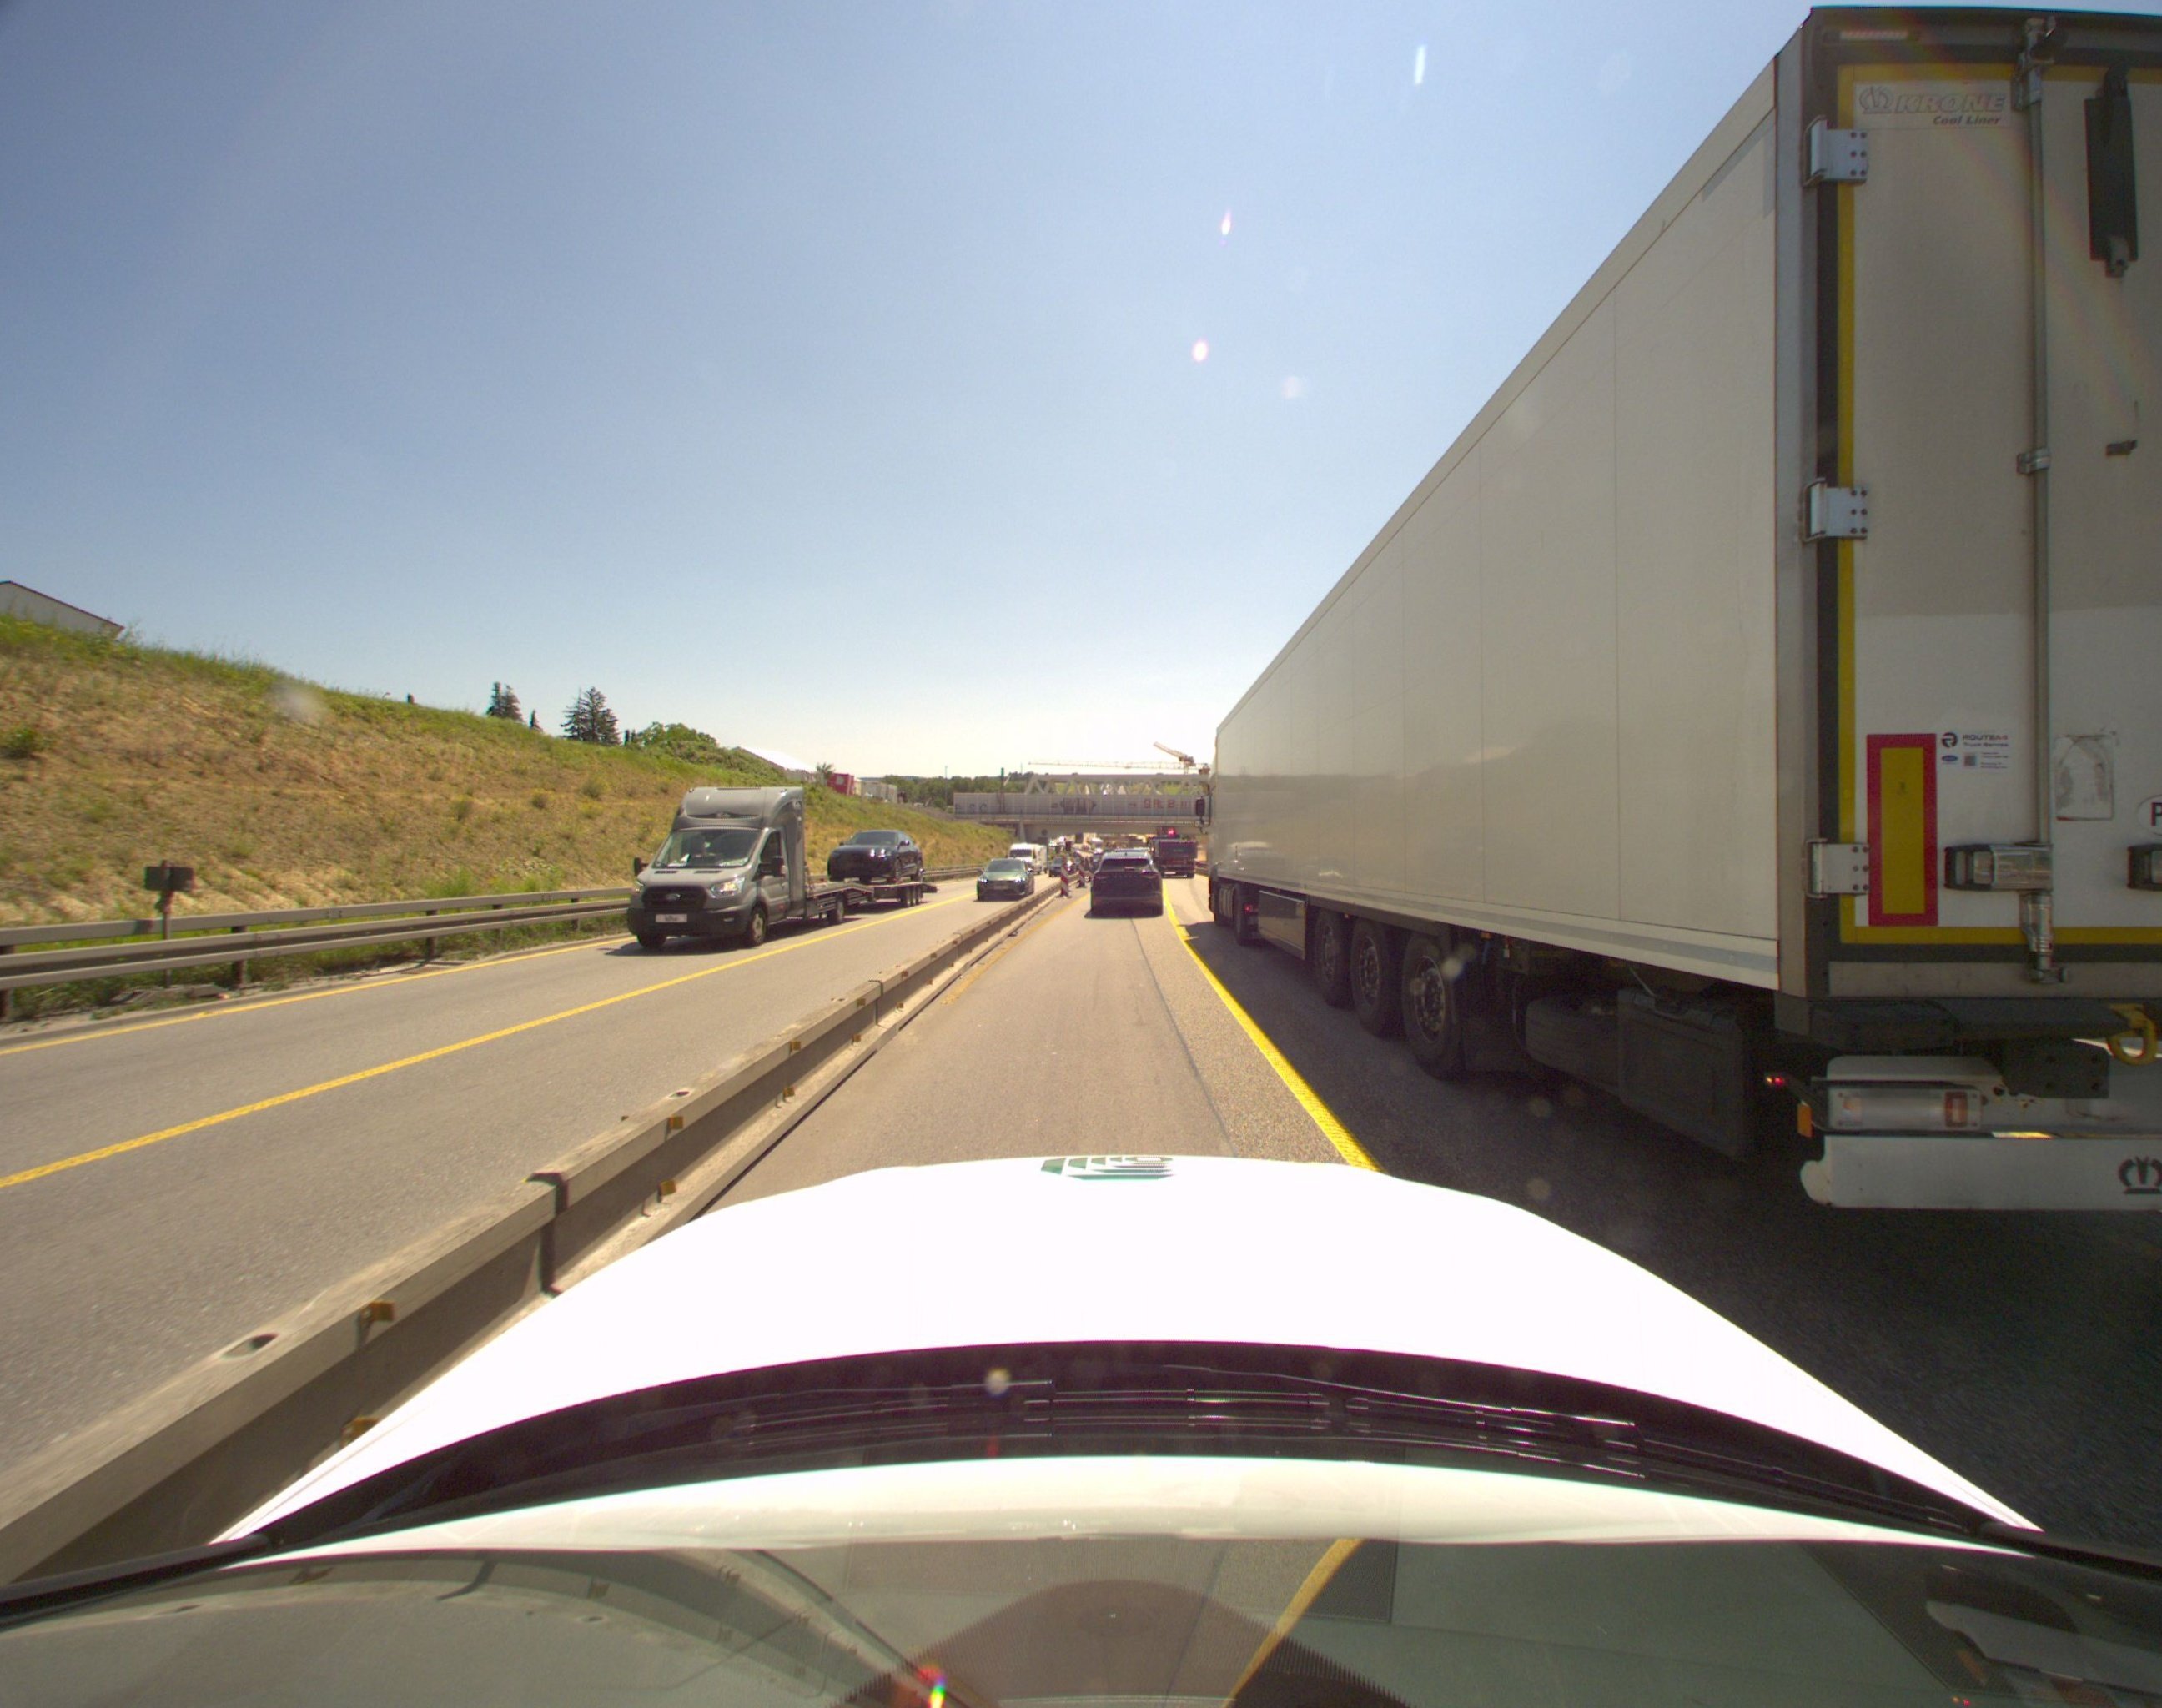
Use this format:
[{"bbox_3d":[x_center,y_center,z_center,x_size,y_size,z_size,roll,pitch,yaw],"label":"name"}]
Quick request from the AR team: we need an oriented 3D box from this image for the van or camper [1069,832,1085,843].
[{"bbox_3d":[-1.228,-5.235,264.296,3.942,3.419,8.380,0,1,-9],"label":"van or camper"}]

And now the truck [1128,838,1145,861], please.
[{"bbox_3d":[10.888,-0.875,160.149,3.163,4.318,9.262,-1,0,2],"label":"truck"}]

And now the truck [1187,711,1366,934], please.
[{"bbox_3d":[3.907,-0.580,17.423,2.766,4.058,4.907,-1,0,2],"label":"truck"}]

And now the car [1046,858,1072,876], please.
[{"bbox_3d":[-1.561,0.928,58.506,1.603,1.276,3.169,0,0,3],"label":"car"}]

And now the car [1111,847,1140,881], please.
[{"bbox_3d":[2.472,0.520,44.974,1.468,1.795,3.301,1,0,4],"label":"car"}]

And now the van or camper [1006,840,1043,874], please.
[{"bbox_3d":[-4.228,0.237,61.936,2.206,2.481,4.754,0,0,3],"label":"van or camper"}]

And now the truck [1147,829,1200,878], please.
[{"bbox_3d":[6.522,-0.061,59.389,2.803,3.135,12.843,-1,0,2],"label":"truck"}]

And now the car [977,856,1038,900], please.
[{"bbox_3d":[-2.590,0.820,29.533,1.659,1.428,4.002,-1,0,2],"label":"car"}]

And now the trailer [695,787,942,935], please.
[{"bbox_3d":[-6.305,0.136,22.602,2.260,2.882,13.046,-1,0,2],"label":"trailer"}]

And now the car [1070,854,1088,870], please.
[{"bbox_3d":[-0.197,0.765,77.896,1.495,1.420,3.179,-1,0,3],"label":"car"}]

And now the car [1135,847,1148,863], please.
[{"bbox_3d":[8.893,0.191,120.044,1.656,2.269,3.796,1,0,0],"label":"car"}]

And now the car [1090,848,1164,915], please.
[{"bbox_3d":[1.142,0.666,21.264,1.794,1.620,3.298,0,0,1],"label":"car"}]

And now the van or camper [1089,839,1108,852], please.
[{"bbox_3d":[4.979,-2.387,229.669,3.942,3.419,8.380,0,1,-9],"label":"van or camper"}]

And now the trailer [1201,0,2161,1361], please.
[{"bbox_3d":[3.583,-0.587,9.393,2.791,4.058,14.123,-1,0,2],"label":"trailer"}]

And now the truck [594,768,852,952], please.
[{"bbox_3d":[-6.477,0.093,15.794,2.260,2.882,5.853,-1,0,1],"label":"truck"}]

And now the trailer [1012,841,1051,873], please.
[{"bbox_3d":[-3.967,0.238,66.585,2.206,2.481,8.533,0,0,3],"label":"trailer"}]
